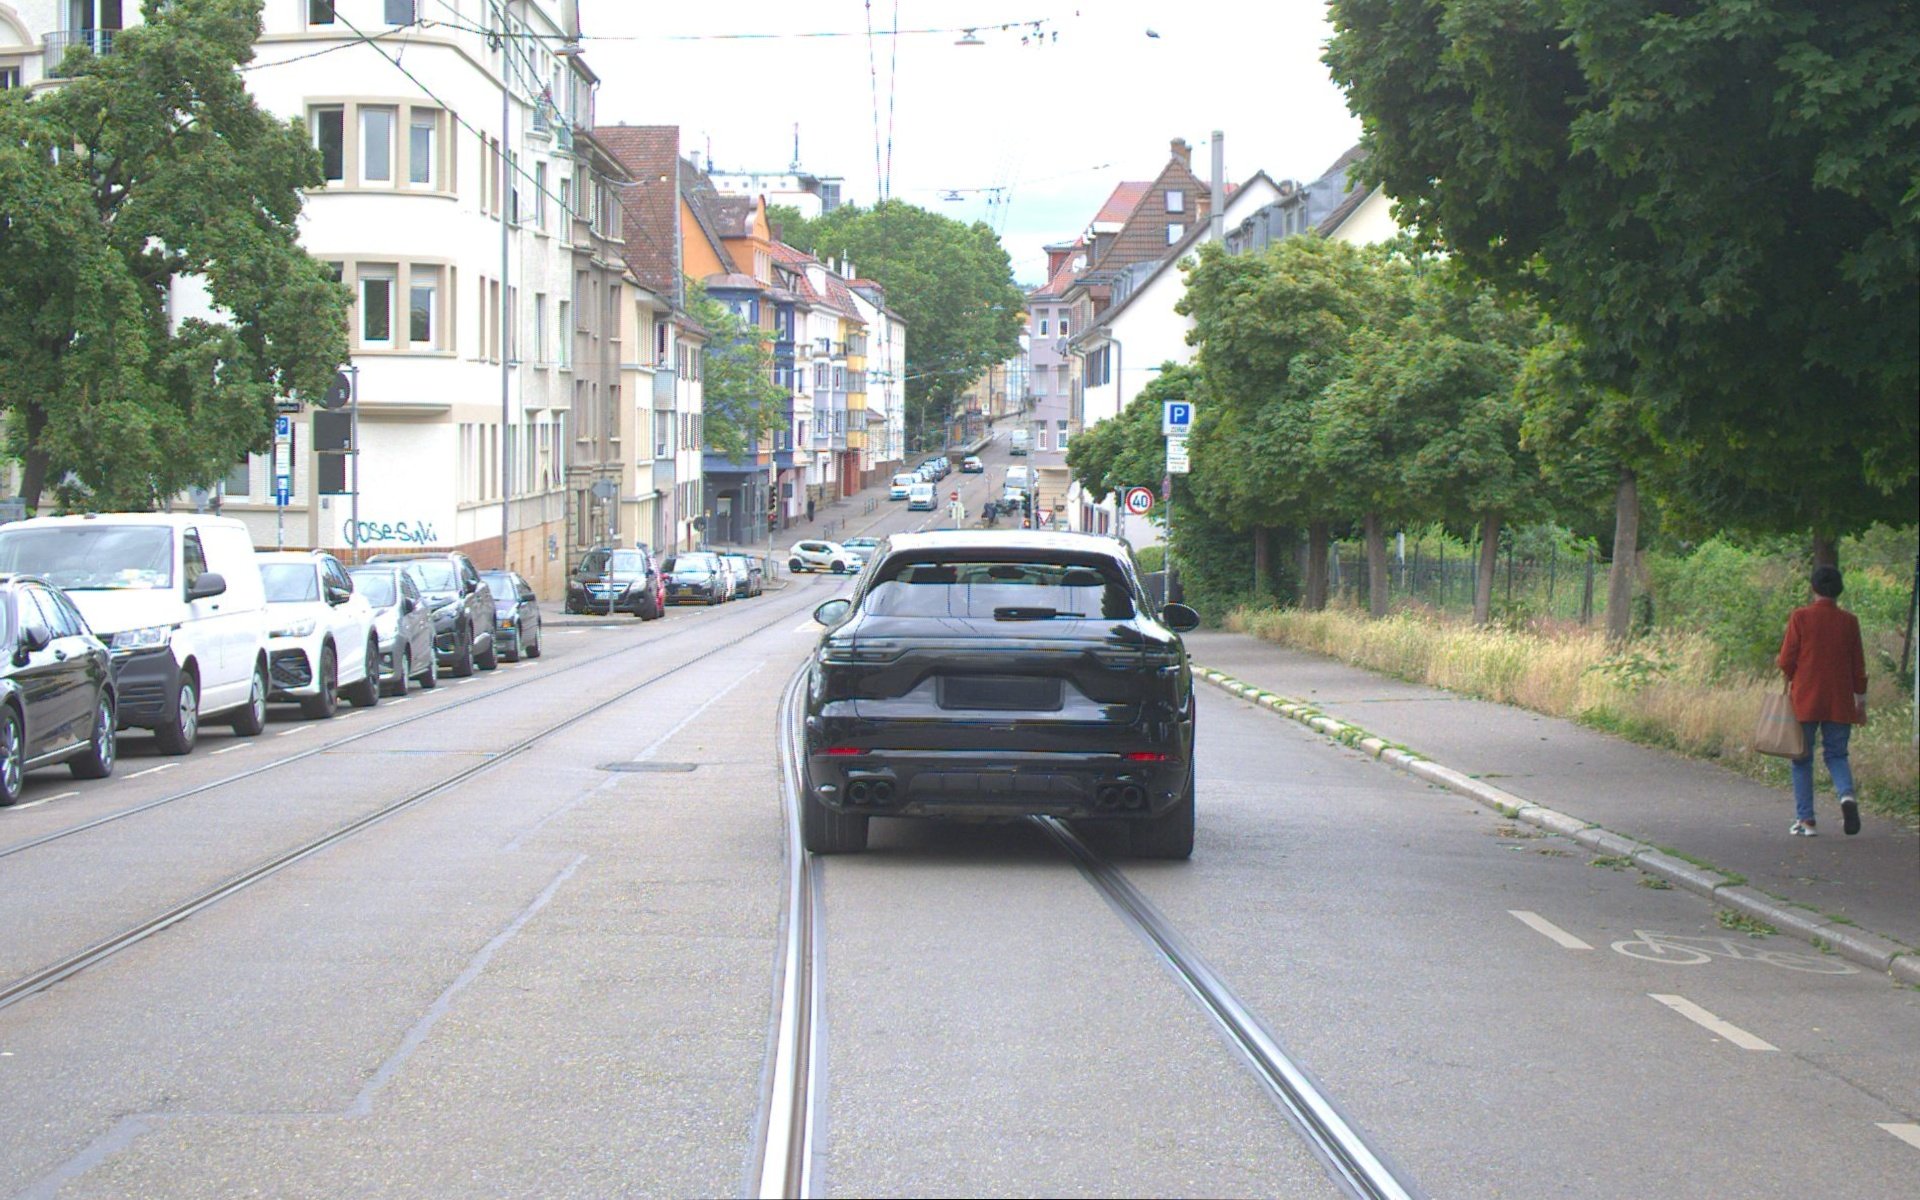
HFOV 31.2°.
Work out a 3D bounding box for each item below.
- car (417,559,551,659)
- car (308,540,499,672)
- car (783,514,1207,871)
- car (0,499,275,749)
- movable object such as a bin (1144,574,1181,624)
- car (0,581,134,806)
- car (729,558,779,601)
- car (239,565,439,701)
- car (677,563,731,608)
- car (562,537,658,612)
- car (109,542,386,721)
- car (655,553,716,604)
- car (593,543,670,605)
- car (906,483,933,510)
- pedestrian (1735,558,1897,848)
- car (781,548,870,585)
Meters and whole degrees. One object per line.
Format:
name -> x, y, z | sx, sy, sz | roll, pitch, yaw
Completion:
car -> -7.267, 0.141, 52.770 | 1.620, 1.472, 4.156 | 0, 0, -2
car -> -7.406, 0.087, 46.137 | 1.969, 1.681, 4.444 | 0, 0, -2
car -> 0.133, 0.429, 18.351 | 1.993, 1.670, 4.000 | 1, 0, -1
car -> -7.086, 0.191, 28.616 | 1.969, 1.906, 4.735 | 0, 0, -2
movable object such as a bin -> 5.052, -0.026, 85.812 | 0.792, 1.214, 0.789 | 1, 0, -4
car -> -6.880, 0.583, 22.824 | 1.840, 1.382, 4.518 | 0, 0, -2
car -> -7.266, -0.720, 121.604 | 1.620, 1.468, 4.556 | 0, 0, -2
car -> -7.158, 0.375, 39.949 | 1.738, 1.504, 3.869 | 0, 0, -2
car -> -8.416, -0.470, 113.157 | 1.620, 1.458, 3.685 | 0, 0, -2
car -> -7.849, -0.550, 77.439 | 1.867, 1.640, 4.402 | 0, 0, -2
car -> -7.075, 0.307, 34.610 | 1.969, 1.681, 4.633 | 0, 0, -2
car -> -8.134, -0.617, 102.191 | 1.620, 1.458, 4.033 | 0, 0, -2
car -> -7.960, -0.605, 83.537 | 1.620, 1.458, 3.746 | 0, 0, -2
car -> -2.842, -7.263, 241.624 | 1.751, 1.754, 4.254 | 1, 0, 0
pedestrian -> 4.868, 0.573, 19.589 | 0.715, 1.615, 0.718 | 1, 0, 0
car -> -6.545, -1.623, 167.643 | 3.829, 1.763, 1.998 | 1, 0, 23
